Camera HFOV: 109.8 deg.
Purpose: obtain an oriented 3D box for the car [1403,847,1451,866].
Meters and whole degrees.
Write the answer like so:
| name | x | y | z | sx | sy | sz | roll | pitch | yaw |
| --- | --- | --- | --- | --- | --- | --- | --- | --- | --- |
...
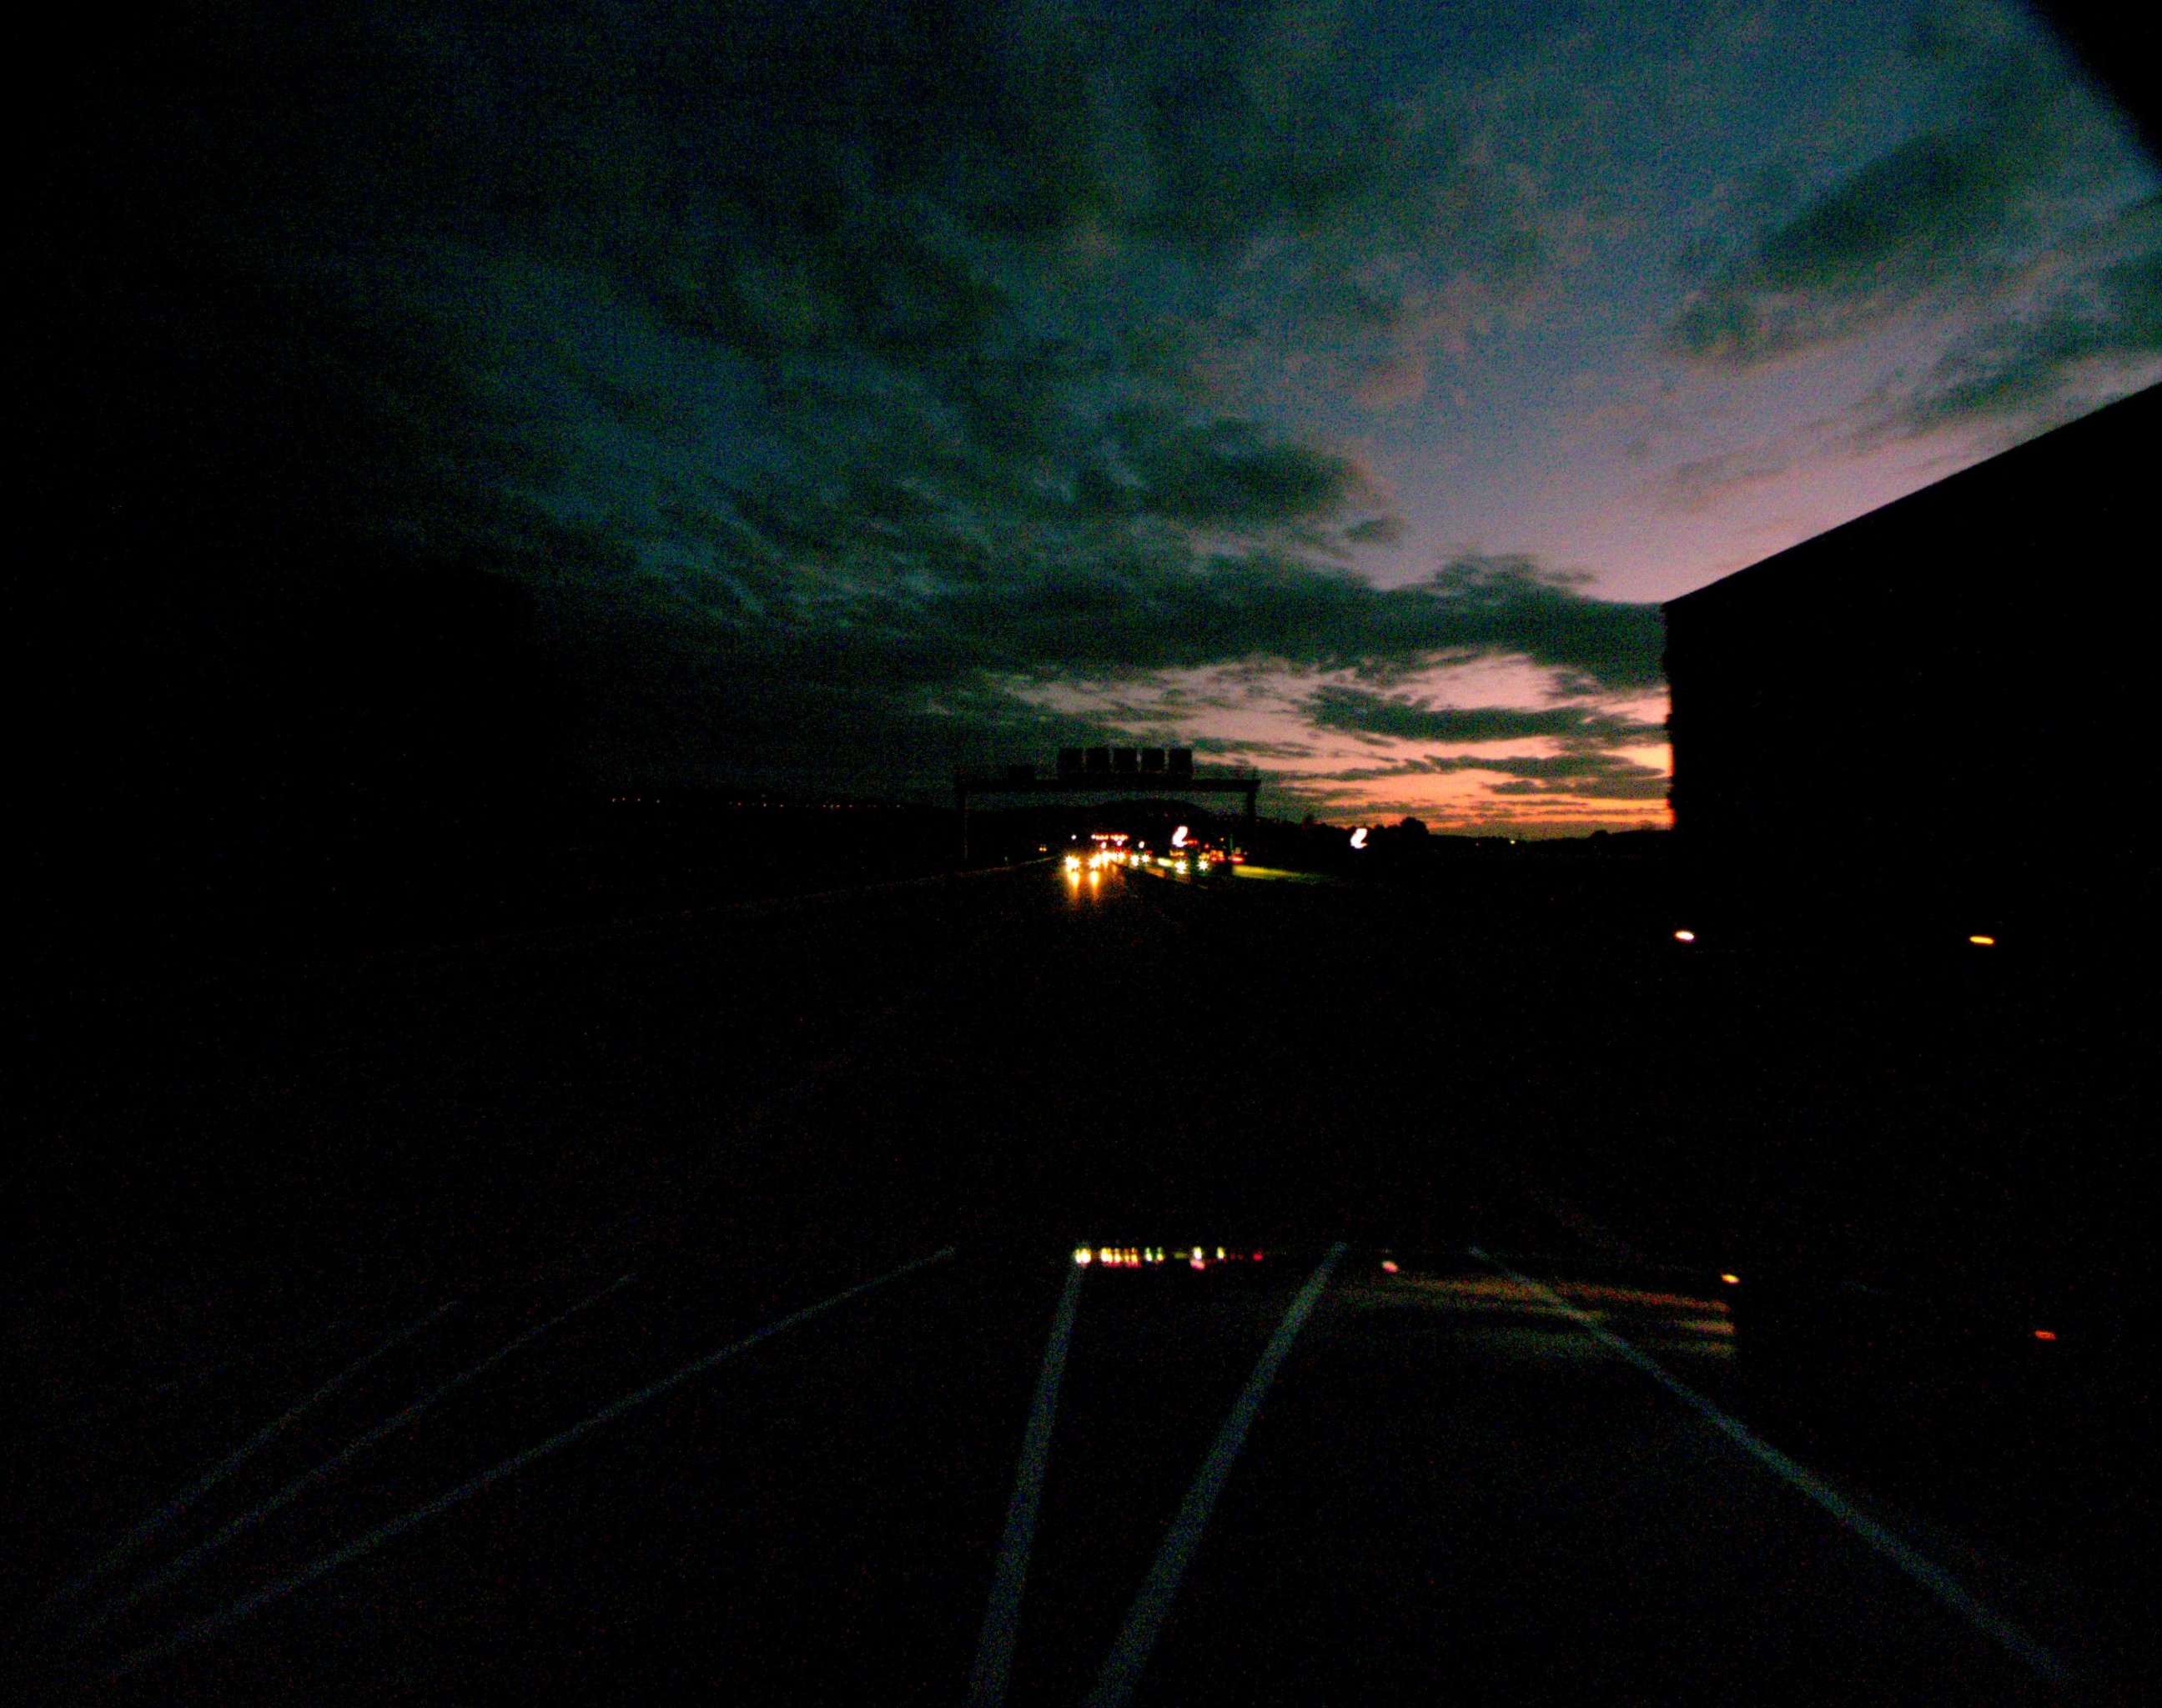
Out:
| name | x | y | z | sx | sy | sz | roll | pitch | yaw |
| --- | --- | --- | --- | --- | --- | --- | --- | --- | --- |
| car | 23.100 | 0.157 | 50.863 | 1.540 | 1.184 | 3.609 | -2 | 1 | 1 |

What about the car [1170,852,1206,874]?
| name | x | y | z | sx | sy | sz | roll | pitch | yaw |
| --- | --- | --- | --- | --- | --- | --- | --- | --- | --- |
| car | 7.772 | 0.623 | 55.479 | 1.819 | 1.429 | 5.394 | -2 | 1 | 0 |

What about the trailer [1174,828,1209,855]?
| name | x | y | z | sx | sy | sz | roll | pitch | yaw |
| --- | --- | --- | --- | --- | --- | --- | --- | --- | --- |
| trailer | 25.412 | -2.841 | 175.876 | 5.317 | 5.752 | 19.211 | -2 | 1 | 1 |

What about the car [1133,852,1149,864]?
| name | x | y | z | sx | sy | sz | roll | pitch | yaw |
| --- | --- | --- | --- | --- | --- | --- | --- | --- | --- |
| car | 8.345 | 0.520 | 106.728 | 1.819 | 1.638 | 4.856 | -2 | 1 | 0 |

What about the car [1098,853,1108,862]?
| name | x | y | z | sx | sy | sz | roll | pitch | yaw |
| --- | --- | --- | --- | --- | --- | --- | --- | --- | --- |
| car | 4.188 | 0.621 | 145.677 | 1.802 | 1.531 | 4.159 | -2 | 1 | 0 |

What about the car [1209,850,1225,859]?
| name | x | y | z | sx | sy | sz | roll | pitch | yaw |
| --- | --- | --- | --- | --- | --- | --- | --- | --- | --- |
| car | 20.585 | 0.067 | 115.463 | 1.736 | 1.281 | 4.000 | -2 | 1 | 1 |

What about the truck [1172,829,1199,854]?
| name | x | y | z | sx | sy | sz | roll | pitch | yaw |
| --- | --- | --- | --- | --- | --- | --- | --- | --- | --- |
| truck | 25.552 | -2.949 | 186.816 | 5.332 | 5.757 | 9.643 | -2 | 1 | 1 |

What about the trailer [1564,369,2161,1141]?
| name | x | y | z | sx | sy | sz | roll | pitch | yaw |
| --- | --- | --- | --- | --- | --- | --- | --- | --- | --- |
| trailer | 7.067 | -0.510 | 1.790 | 2.801 | 4.061 | 14.524 | -1 | 1 | 1 |

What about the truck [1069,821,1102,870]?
| name | x | y | z | sx | sy | sz | roll | pitch | yaw |
| --- | --- | --- | --- | --- | --- | --- | --- | --- | --- |
| truck | 0.461 | -0.803 | 78.701 | 3.012 | 4.570 | 12.578 | -2 | 0 | 0 |

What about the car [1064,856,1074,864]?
| name | x | y | z | sx | sy | sz | roll | pitch | yaw |
| --- | --- | --- | --- | --- | --- | --- | --- | --- | --- |
| car | -1.884 | 0.942 | 121.150 | 1.513 | 1.247 | 4.000 | -2 | 1 | 1 |

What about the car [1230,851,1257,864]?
| name | x | y | z | sx | sy | sz | roll | pitch | yaw |
| --- | --- | --- | --- | --- | --- | --- | --- | --- | --- |
| car | 16.412 | 0.358 | 76.928 | 1.867 | 1.197 | 4.000 | -2 | 1 | 1 |
